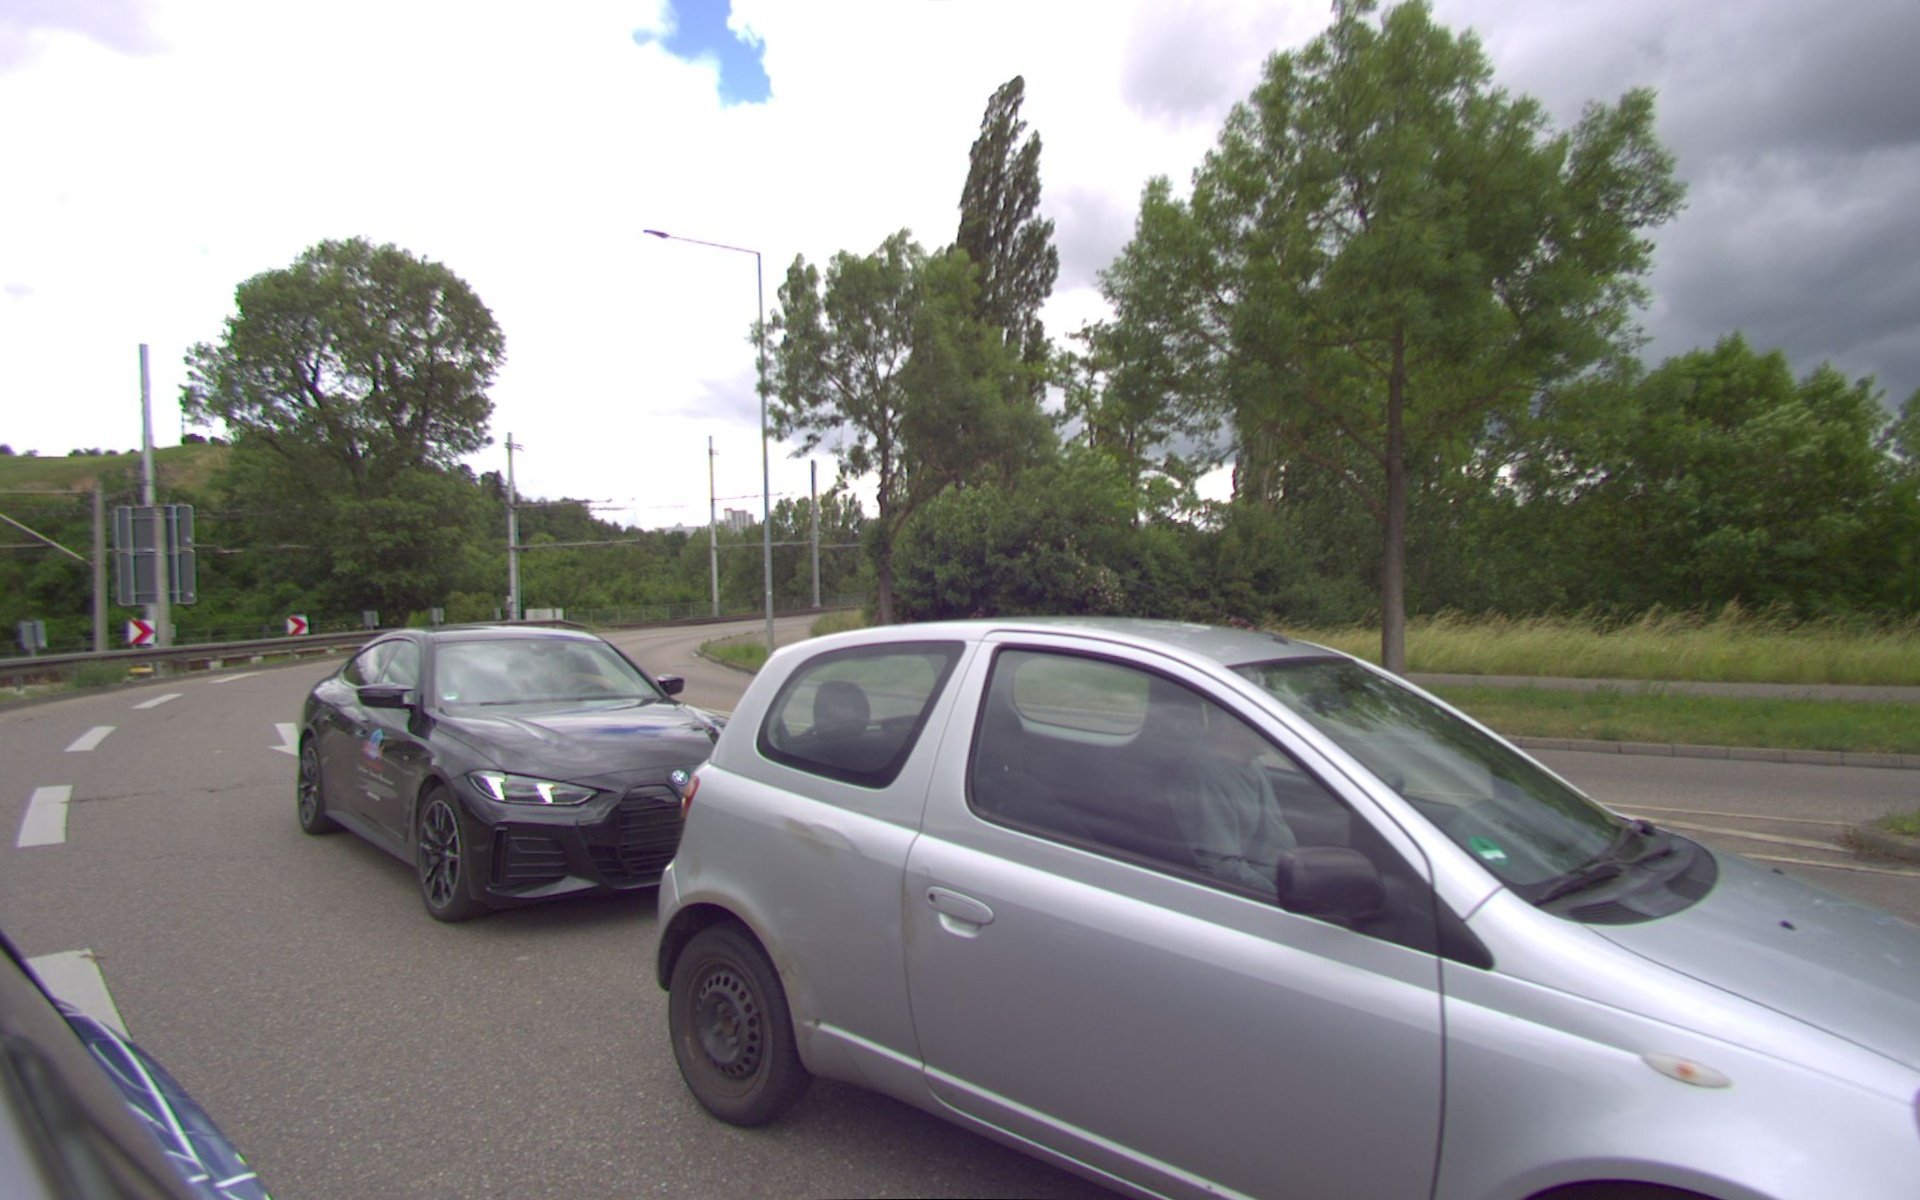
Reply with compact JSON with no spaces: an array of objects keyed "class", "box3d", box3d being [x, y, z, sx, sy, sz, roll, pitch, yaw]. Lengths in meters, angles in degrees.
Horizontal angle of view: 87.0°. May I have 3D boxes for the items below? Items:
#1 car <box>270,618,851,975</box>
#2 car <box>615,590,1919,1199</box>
[{"class":"car","box3d":[-2.969,0.894,6.696,1.850,1.488,4.968,2,-3,-43]},{"class":"car","box3d":[0.861,0.787,2.689,3.624,1.481,1.652,-1,-4,39]}]
